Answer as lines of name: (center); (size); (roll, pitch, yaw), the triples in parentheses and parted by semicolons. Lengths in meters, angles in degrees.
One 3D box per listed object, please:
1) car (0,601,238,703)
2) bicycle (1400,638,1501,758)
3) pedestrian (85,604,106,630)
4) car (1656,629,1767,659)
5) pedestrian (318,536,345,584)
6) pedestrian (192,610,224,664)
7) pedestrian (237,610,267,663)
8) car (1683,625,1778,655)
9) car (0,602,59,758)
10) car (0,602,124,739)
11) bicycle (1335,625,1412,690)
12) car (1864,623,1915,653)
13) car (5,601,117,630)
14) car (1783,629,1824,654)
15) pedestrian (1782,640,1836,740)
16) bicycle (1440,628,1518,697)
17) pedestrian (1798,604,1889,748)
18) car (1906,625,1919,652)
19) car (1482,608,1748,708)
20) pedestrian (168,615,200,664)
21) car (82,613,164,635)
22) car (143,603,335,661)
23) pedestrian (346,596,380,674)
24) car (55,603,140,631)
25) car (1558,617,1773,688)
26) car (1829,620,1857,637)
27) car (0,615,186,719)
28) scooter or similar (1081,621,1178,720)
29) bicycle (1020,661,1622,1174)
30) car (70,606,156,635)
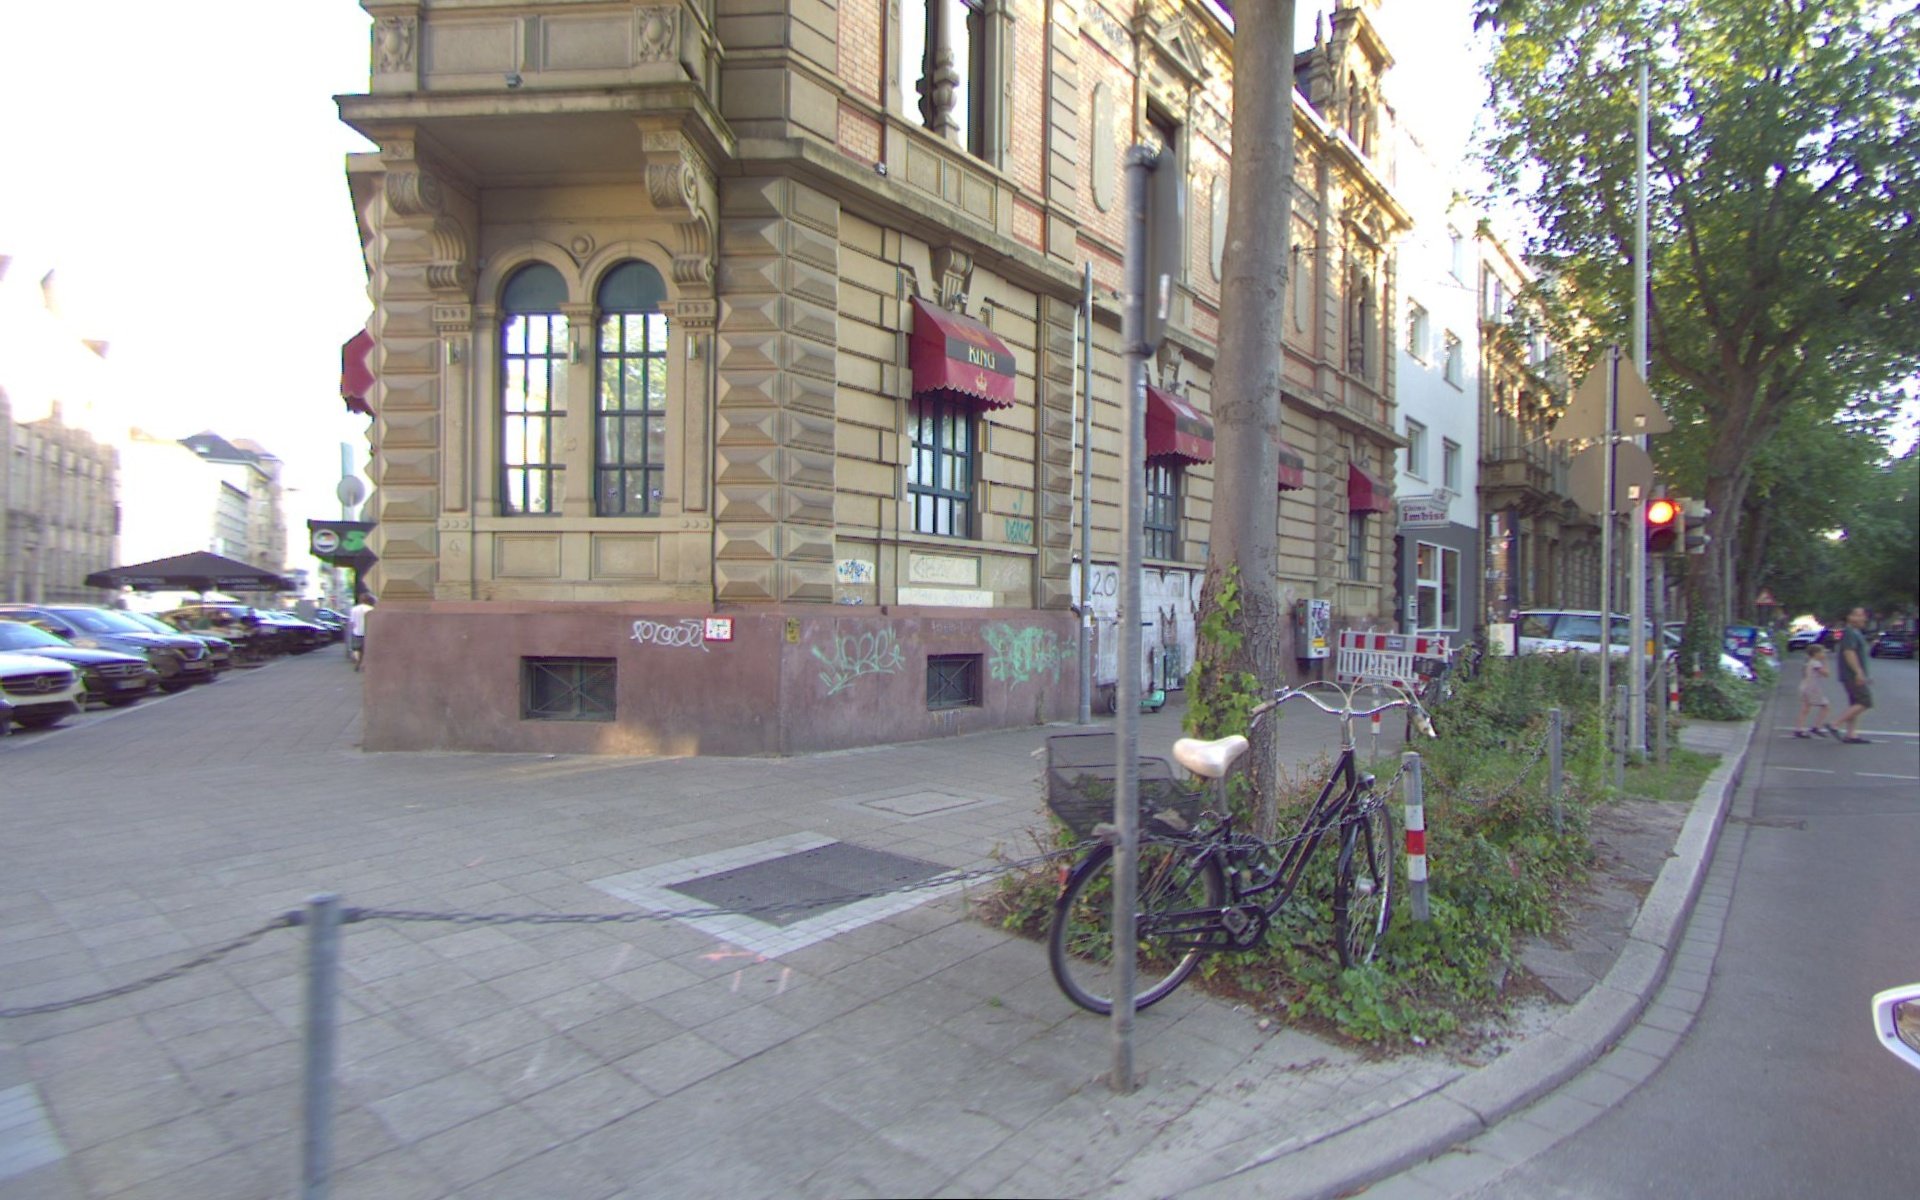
car: (-15.533, 0.901, 17.881); (3.972, 1.678, 1.793); (1, -2, -2)
bicycle: (5.476, 1.027, 11.142); (0.504, 1.169, 2.091); (2, 1, 39)
pedestrian: (-60.952, 1.221, 70.832); (0.838, 1.823, 1.007); (1, -1, -23)
car: (38.878, 2.233, 51.999); (4.496, 1.428, 1.824); (-1, -1, 41)
pedestrian: (-17.968, -1.128, 28.722); (0.567, 1.326, 0.572); (1, -1, -27)
pedestrian: (-20.137, 0.981, 26.904); (0.569, 1.435, 0.670); (1, -1, -28)
pedestrian: (-19.251, 0.991, 27.323); (0.569, 1.435, 0.670); (1, -1, -28)
car: (47.020, 2.411, 61.348); (4.495, 1.714, 1.824); (0, -1, 41)
car: (-10.987, 0.832, 9.169); (3.789, 1.480, 1.740); (-2, 0, -4)
car: (-13.075, 0.844, 12.084); (4.537, 1.532, 1.769); (-1, -1, 0)
bicycle: (8.310, 1.120, 20.119); (0.629, 1.217, 2.550); (0, -1, 41)
car: (52.738, 2.151, 57.051); (1.803, 1.582, 4.010); (2, 0, 39)
car: (-48.447, 0.844, 54.208); (1.724, 1.493, 4.218); (0, -1, 32)
car: (56.613, 2.766, 67.450); (1.880, 1.598, 3.975); (1, 0, 38)
pedestrian: (11.950, 1.248, 14.134); (0.503, 1.353, 0.534); (1, 0, -45)
bicycle: (10.005, 1.157, 19.321); (0.726, 1.202, 2.621); (2, 0, 40)
pedestrian: (11.847, 0.980, 13.466); (0.879, 1.839, 0.789); (0, -1, 45)
car: (58.378, 2.311, 59.030); (3.967, 1.623, 1.699); (0, -1, 40)
car: (13.502, 1.116, 20.874); (4.491, 1.859, 1.826); (0, -1, 38)
pedestrian: (-23.041, 1.157, 29.825); (0.567, 1.435, 0.539); (1, -1, -16)
car: (-54.325, 1.555, 65.257); (1.711, 1.365, 3.822); (-1, -1, 37)
car: (-23.184, 1.021, 32.413); (4.747, 1.756, 1.908); (1, -1, -1)
pedestrian: (-12.754, 0.742, 21.465); (0.571, 1.630, 0.518); (-1, 0, -27)
car: (-59.753, 1.175, 69.632); (1.726, 1.907, 4.212); (0, -1, 37)
car: (18.509, 1.310, 26.468); (4.496, 1.711, 1.824); (-1, -1, 41)
car: (87.097, 2.795, 99.111); (1.901, 1.682, 3.982); (0, -1, 39)
car: (-14.523, 0.969, 15.209); (4.169, 1.466, 1.710); (1, -2, -2)
scooter or similar: (2.166, 0.875, 12.780); (1.276, 1.183, 0.435); (2, 1, -38)
bicycle: (1.473, 0.910, 3.768); (2.547, 1.284, 0.837); (1, -1, -36)
car: (-52.907, 1.285, 62.812); (1.726, 1.776, 3.822); (0, -1, 37)
